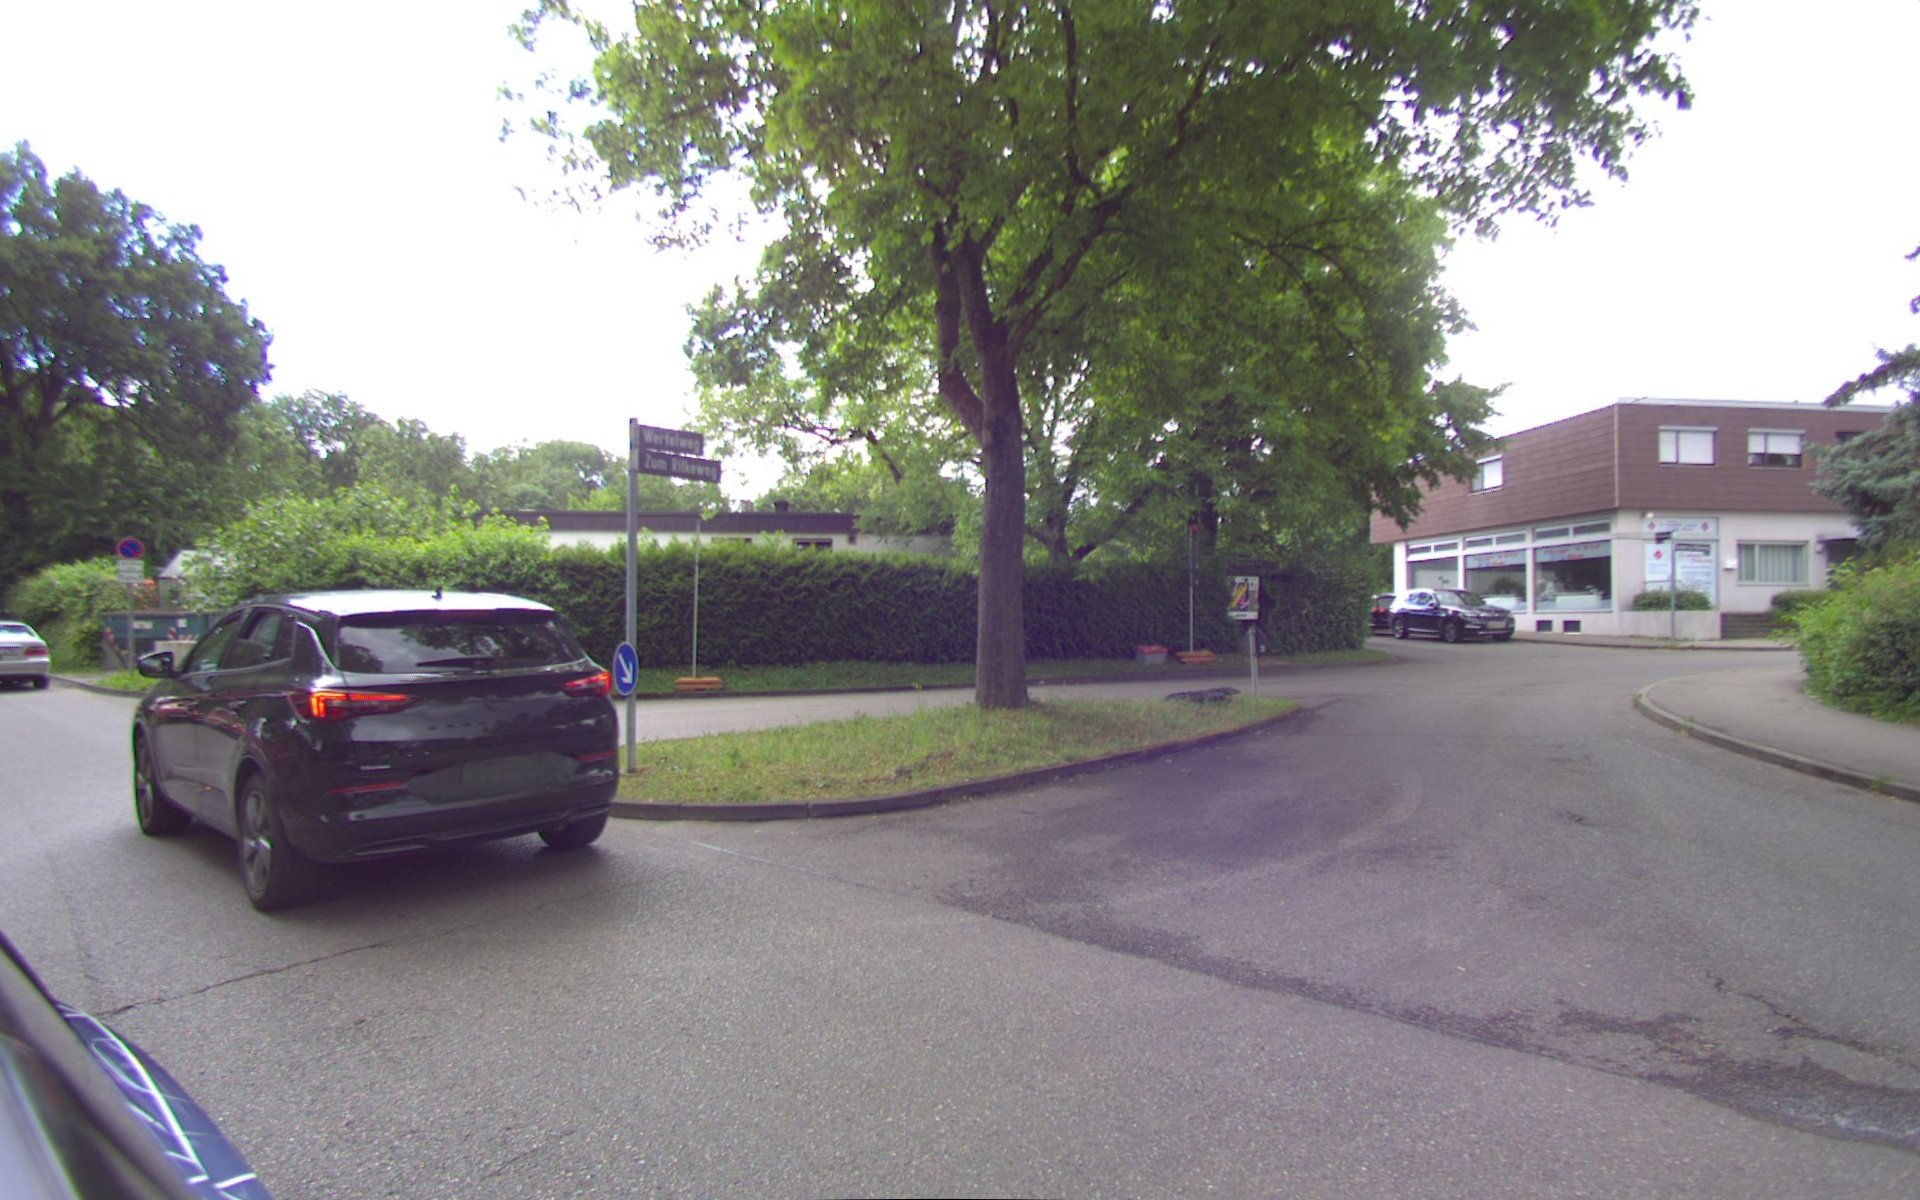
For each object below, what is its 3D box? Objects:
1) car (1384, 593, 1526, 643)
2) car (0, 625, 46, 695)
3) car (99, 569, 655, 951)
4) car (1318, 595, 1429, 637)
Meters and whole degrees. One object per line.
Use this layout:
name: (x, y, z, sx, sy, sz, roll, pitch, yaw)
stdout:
car: (15.594, 0.559, 32.163, 1.969, 1.386, 4.285, -2, -1, -6)
car: (-19.858, 1.177, 20.421, 4.296, 1.316, 1.761, -2, -1, 43)
car: (-3.882, 0.716, 6.368, 4.294, 1.603, 1.784, -2, -1, 42)
car: (15.094, 0.583, 37.211, 1.943, 1.386, 4.007, -2, -1, -8)
